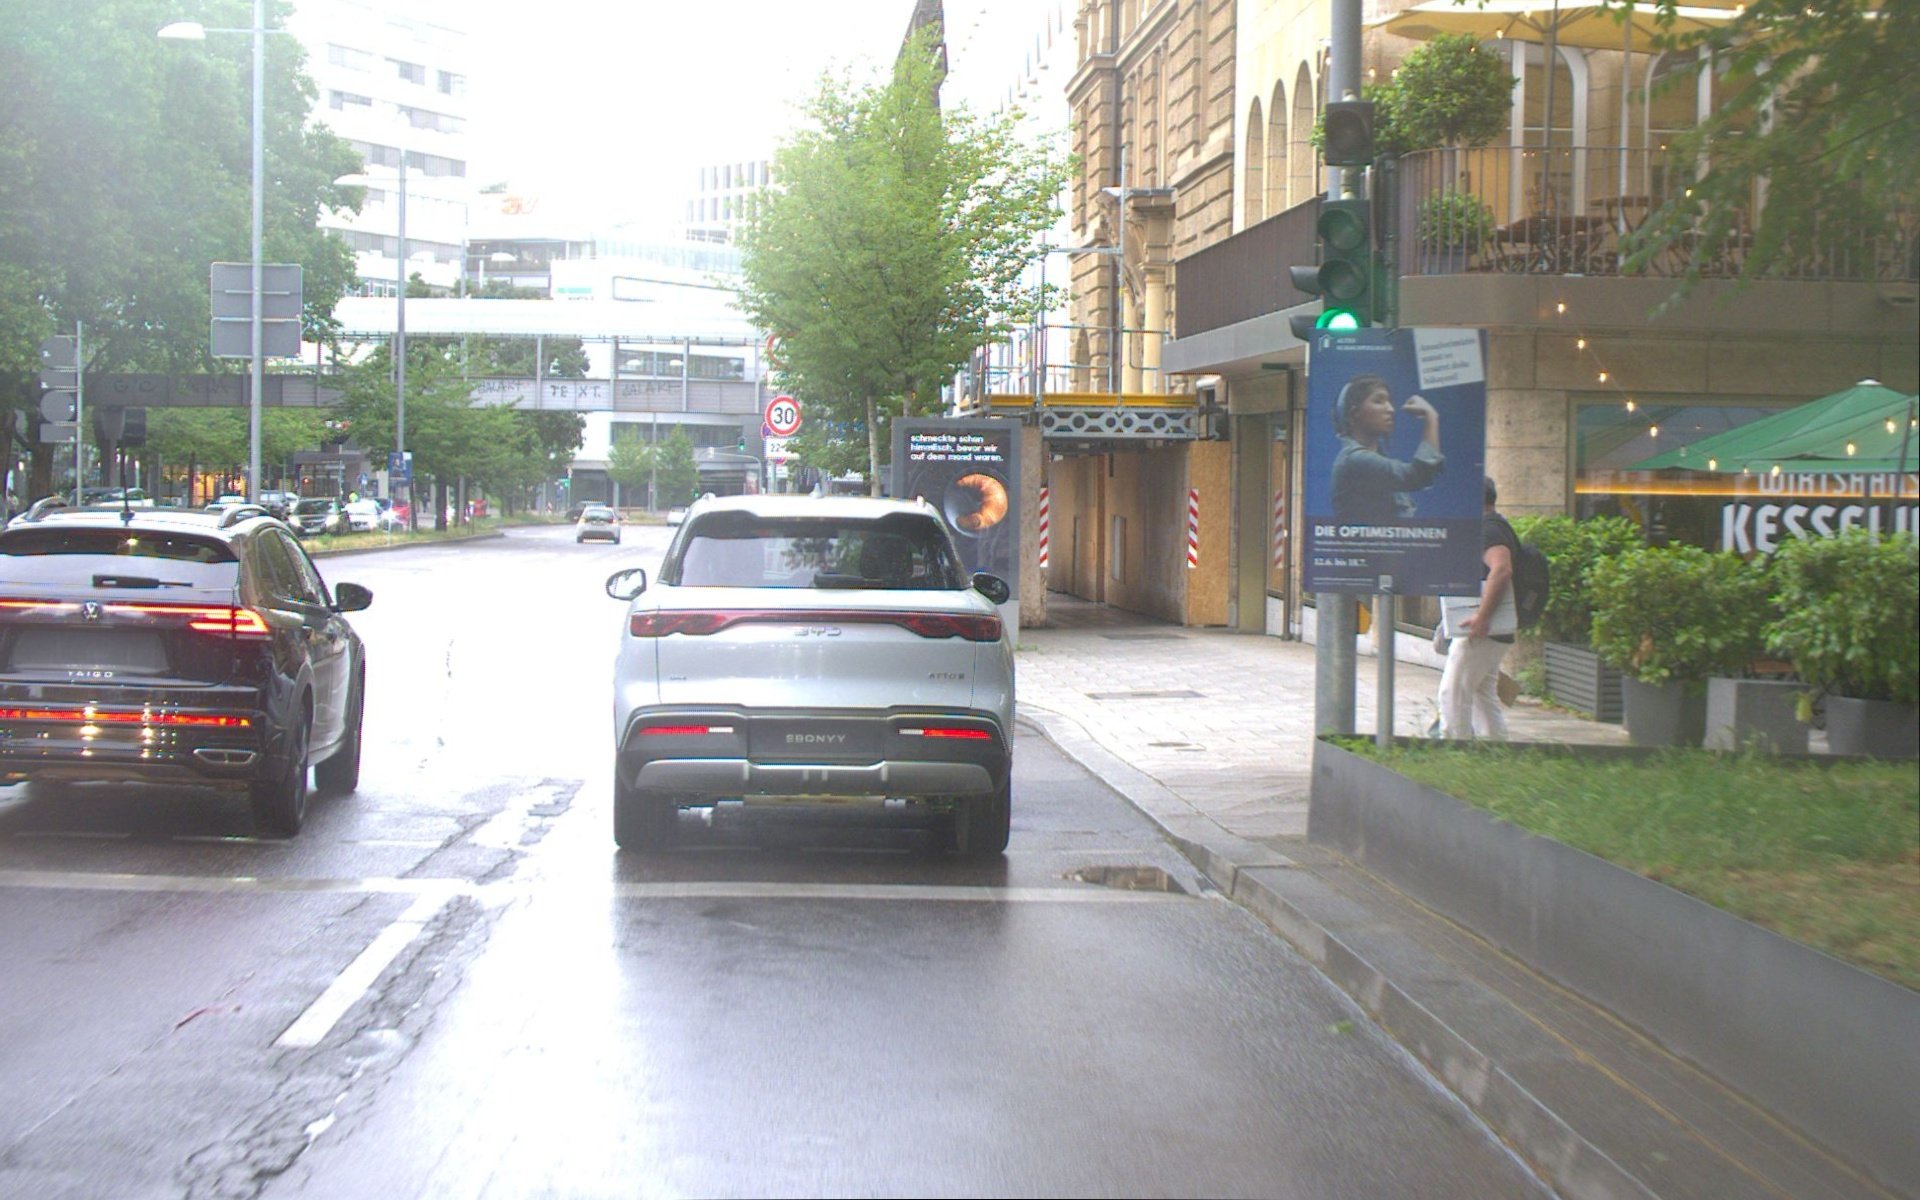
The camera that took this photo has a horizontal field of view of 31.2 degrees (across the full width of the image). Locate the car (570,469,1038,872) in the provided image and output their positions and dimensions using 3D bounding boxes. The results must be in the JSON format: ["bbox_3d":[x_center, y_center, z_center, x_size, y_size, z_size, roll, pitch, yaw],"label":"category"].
[{"bbox_3d":[-0.682,0.259,16.847,1.947,1.660,4.346,2,1,0],"label":"car"}]

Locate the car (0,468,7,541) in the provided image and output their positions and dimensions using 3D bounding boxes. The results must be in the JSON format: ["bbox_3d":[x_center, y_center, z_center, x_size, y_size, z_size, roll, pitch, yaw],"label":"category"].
[{"bbox_3d":[-25.819,-2.441,88.006,1.794,1.903,4.501,-1,1,-3],"label":"car"}]

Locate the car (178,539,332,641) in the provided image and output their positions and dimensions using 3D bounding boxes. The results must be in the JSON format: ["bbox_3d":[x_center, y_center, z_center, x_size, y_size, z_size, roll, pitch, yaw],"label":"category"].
[{"bbox_3d":[-10.844,-0.190,53.106,1.691,1.458,4.346,-1,1,-3],"label":"car"}]

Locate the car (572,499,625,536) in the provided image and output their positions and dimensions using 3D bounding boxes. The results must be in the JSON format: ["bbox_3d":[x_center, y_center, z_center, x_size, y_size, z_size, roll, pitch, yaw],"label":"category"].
[{"bbox_3d":[-14.964,-3.420,142.601,1.978,1.458,4.346,-1,1,-3],"label":"car"}]

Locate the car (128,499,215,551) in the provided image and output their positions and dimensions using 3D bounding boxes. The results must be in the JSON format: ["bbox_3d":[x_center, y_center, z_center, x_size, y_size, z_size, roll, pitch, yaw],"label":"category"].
[{"bbox_3d":[-23.802,-2.283,103.885,1.794,1.505,4.501,-1,1,-3],"label":"car"}]

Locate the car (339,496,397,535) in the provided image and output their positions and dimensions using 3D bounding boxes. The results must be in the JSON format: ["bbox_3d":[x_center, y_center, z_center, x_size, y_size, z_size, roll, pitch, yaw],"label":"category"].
[{"bbox_3d":[-23.745,-3.388,138.023,1.794,1.505,4.346,-1,1,-3],"label":"car"}]

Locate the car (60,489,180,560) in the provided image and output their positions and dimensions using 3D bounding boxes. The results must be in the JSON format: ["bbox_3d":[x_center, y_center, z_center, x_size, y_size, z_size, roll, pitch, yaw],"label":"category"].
[{"bbox_3d":[-18.736,-1.699,76.843,1.794,1.505,4.501,-1,1,-3],"label":"car"}]

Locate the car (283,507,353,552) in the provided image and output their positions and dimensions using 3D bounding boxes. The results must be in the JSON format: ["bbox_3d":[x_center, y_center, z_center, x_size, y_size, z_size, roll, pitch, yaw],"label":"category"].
[{"bbox_3d":[-22.037,-2.423,118.091,1.794,1.505,4.346,-1,1,-3],"label":"car"}]

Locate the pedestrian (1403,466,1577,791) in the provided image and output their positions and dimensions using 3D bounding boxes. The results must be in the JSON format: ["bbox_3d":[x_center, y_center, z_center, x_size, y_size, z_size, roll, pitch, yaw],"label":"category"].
[{"bbox_3d":[2.967,0.153,19.293,0.859,1.773,0.717,1,1,3],"label":"pedestrian"}]

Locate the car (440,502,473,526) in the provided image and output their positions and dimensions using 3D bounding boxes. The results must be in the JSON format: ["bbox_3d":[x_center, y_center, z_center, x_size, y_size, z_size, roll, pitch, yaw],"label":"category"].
[{"bbox_3d":[-33.101,-5.650,226.091,1.794,1.505,4.346,-1,1,-3],"label":"car"}]

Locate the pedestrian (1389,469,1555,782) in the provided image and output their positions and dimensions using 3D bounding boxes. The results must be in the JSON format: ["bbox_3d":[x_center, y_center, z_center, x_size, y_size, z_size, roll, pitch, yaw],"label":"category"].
[{"bbox_3d":[2.978,0.141,20.055,0.859,1.773,0.717,1,1,3],"label":"pedestrian"}]

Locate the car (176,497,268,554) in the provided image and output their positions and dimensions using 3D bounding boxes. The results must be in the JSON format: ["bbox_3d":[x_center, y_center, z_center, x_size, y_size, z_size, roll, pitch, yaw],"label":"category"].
[{"bbox_3d":[-20.379,-2.077,95.134,1.794,1.505,4.501,-1,1,-3],"label":"car"}]

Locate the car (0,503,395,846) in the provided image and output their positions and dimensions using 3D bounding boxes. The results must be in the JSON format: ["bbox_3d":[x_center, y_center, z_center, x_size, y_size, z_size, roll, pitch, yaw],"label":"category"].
[{"bbox_3d":[-3.886,0.269,16.953,1.691,1.458,4.346,-1,1,-3],"label":"car"}]

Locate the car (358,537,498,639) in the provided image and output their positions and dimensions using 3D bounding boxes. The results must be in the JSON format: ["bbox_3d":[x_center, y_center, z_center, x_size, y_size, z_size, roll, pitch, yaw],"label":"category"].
[{"bbox_3d":[-8.193,-0.220,53.219,1.691,1.458,4.346,-1,1,-3],"label":"car"}]
